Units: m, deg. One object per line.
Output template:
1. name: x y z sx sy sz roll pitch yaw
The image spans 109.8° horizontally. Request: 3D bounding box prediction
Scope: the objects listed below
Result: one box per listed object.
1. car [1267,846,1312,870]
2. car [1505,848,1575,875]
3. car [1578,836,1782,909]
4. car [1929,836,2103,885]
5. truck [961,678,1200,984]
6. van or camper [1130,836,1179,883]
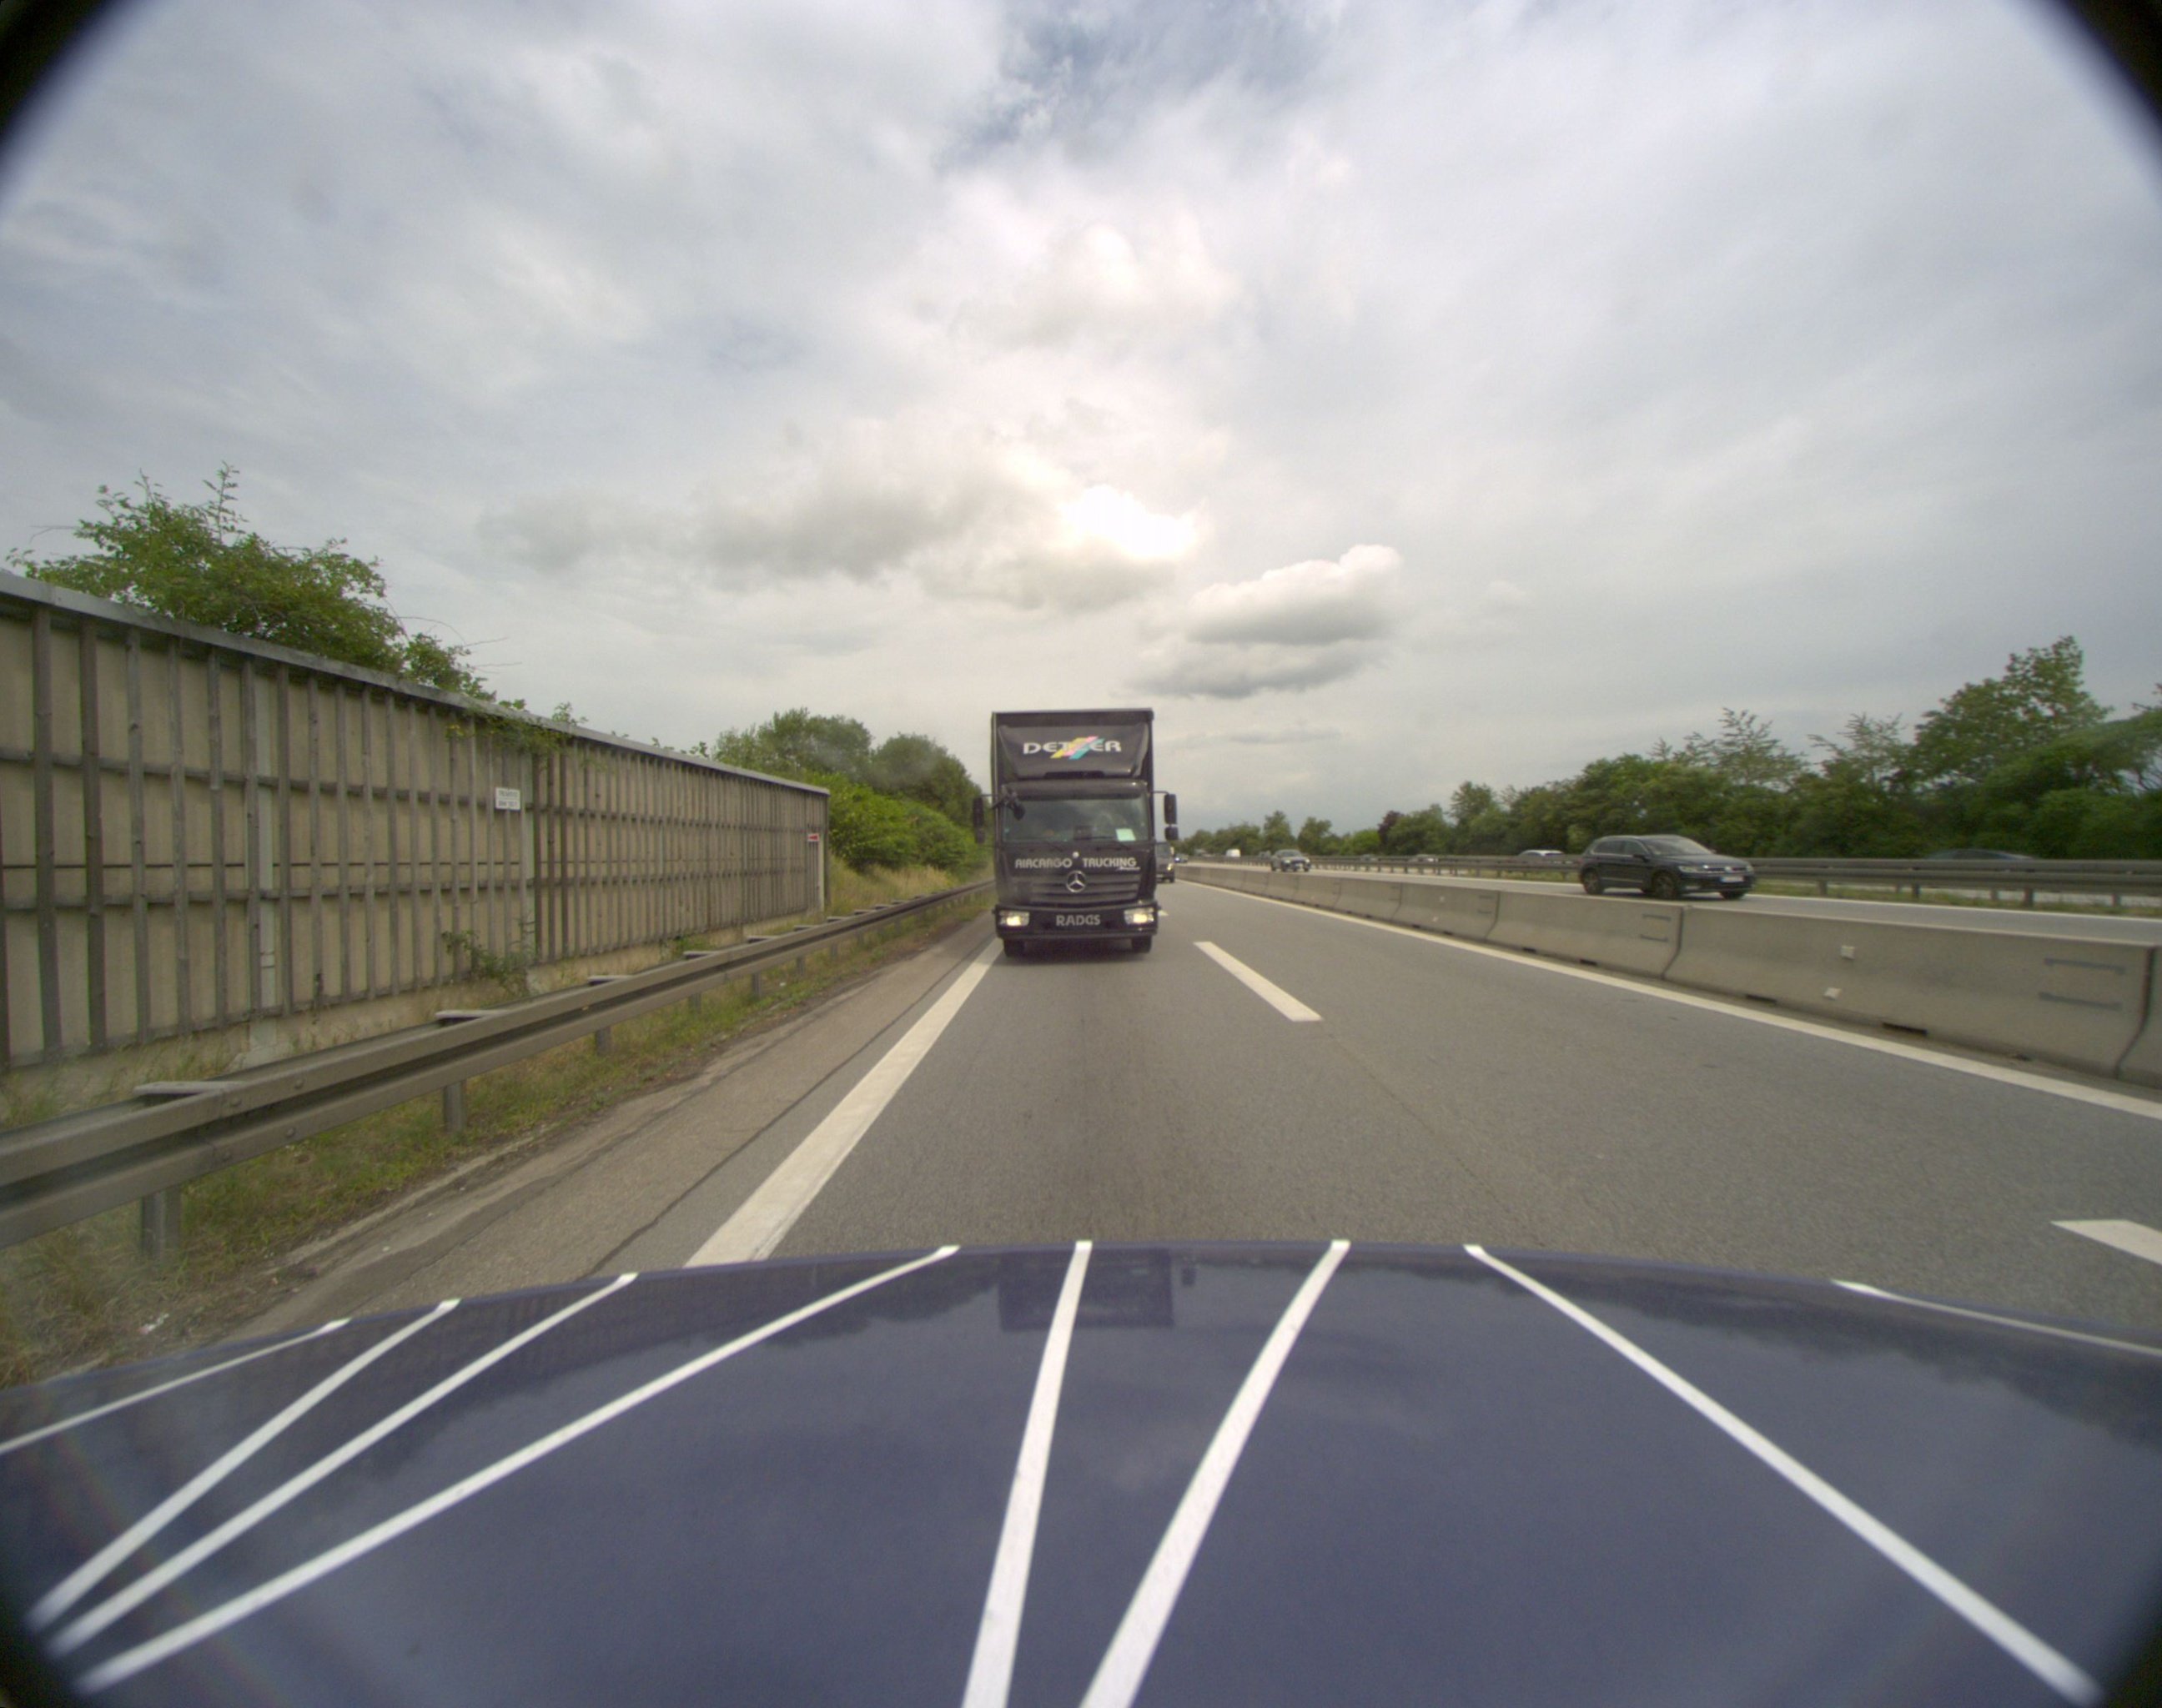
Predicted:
1. car: 14.739 0.259 53.955 1.906 1.630 4.644 -2 0 0
2. car: 27.090 0.408 44.964 1.737 1.511 3.718 -1 0 -4
3. car: 15.203 0.410 19.638 1.906 1.629 4.233 -2 0 0
4. car: 35.570 0.231 29.090 1.691 1.718 3.999 -1 0 -2
5. truck: -0.271 -0.325 15.137 3.025 3.931 10.336 -2 0 -3
6. van or camper: 3.918 0.267 41.499 2.004 2.357 6.126 -1 0 0
